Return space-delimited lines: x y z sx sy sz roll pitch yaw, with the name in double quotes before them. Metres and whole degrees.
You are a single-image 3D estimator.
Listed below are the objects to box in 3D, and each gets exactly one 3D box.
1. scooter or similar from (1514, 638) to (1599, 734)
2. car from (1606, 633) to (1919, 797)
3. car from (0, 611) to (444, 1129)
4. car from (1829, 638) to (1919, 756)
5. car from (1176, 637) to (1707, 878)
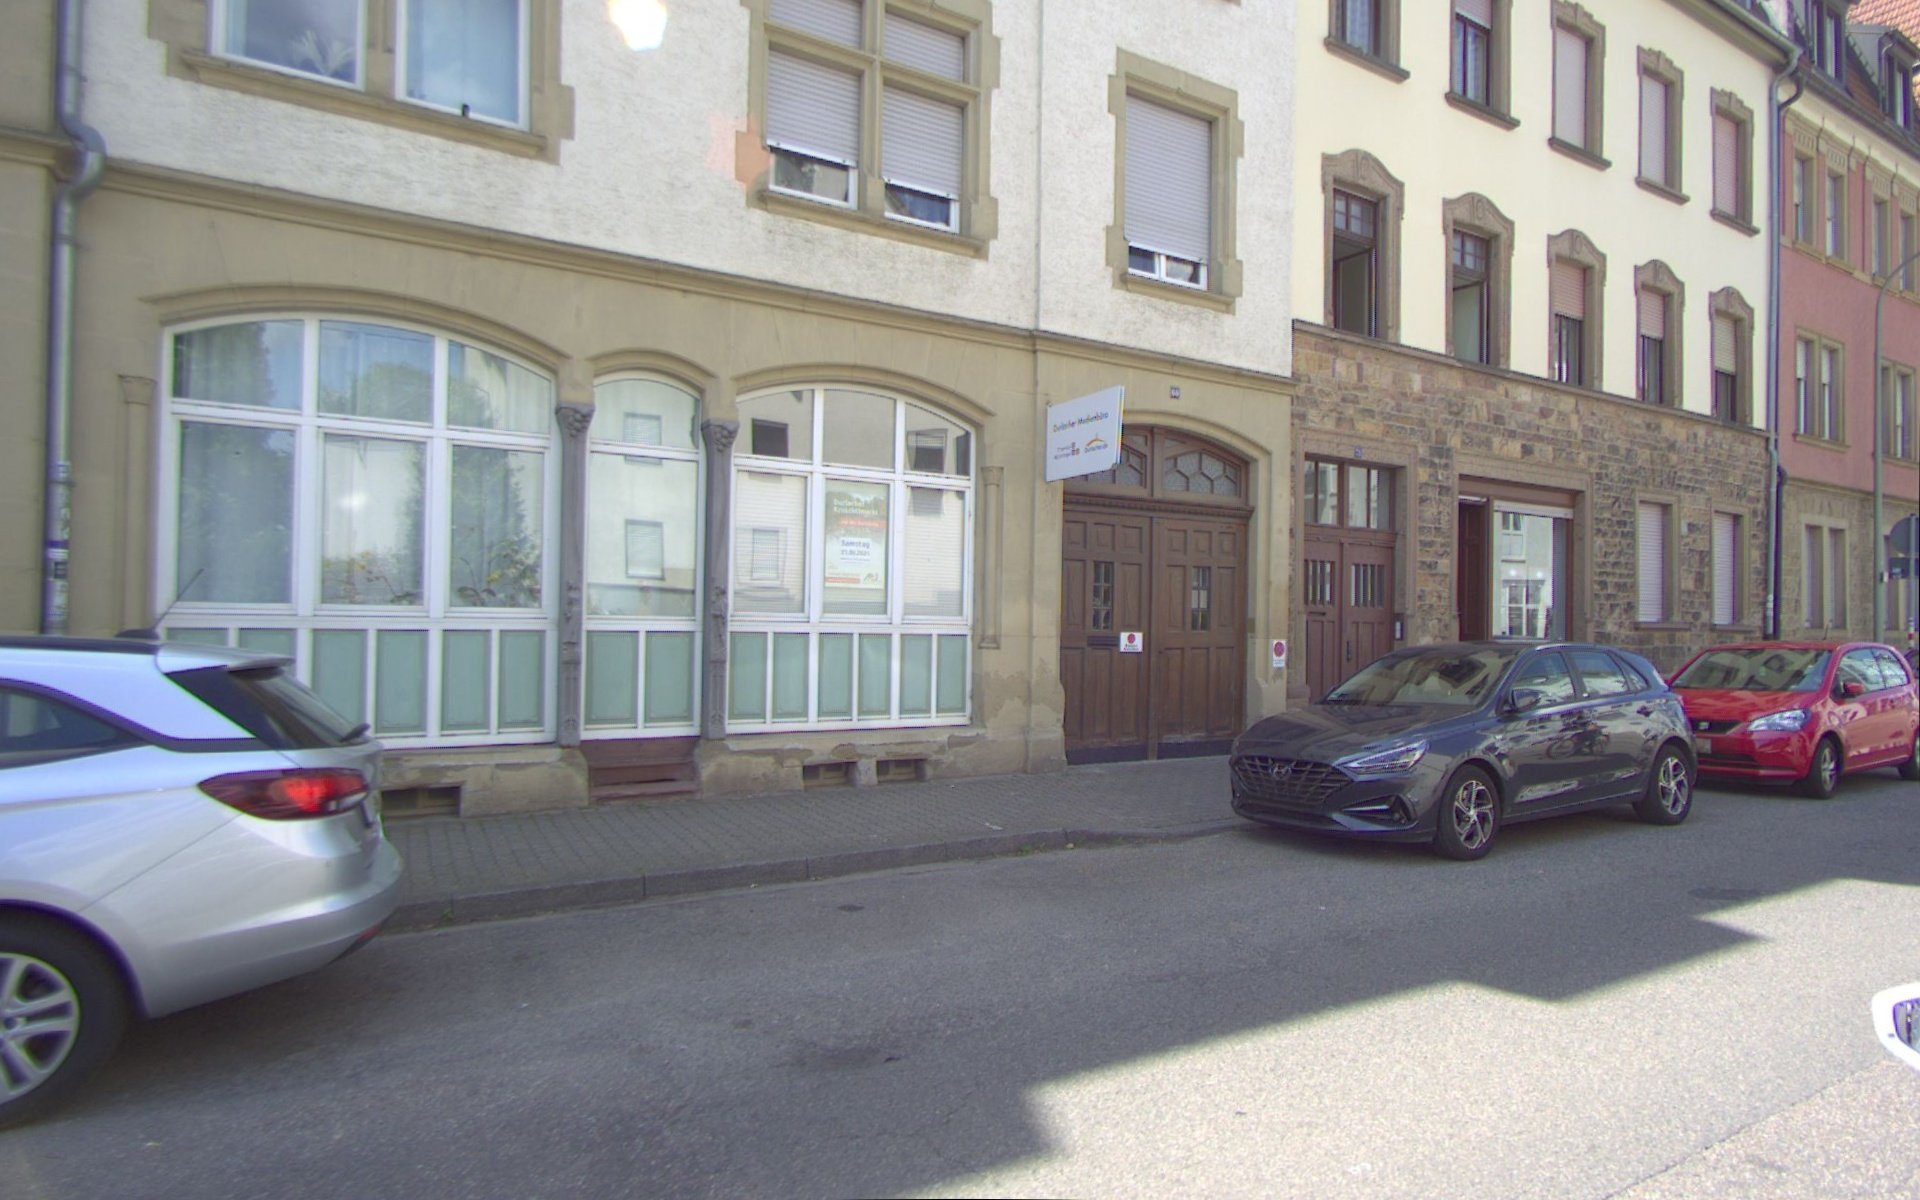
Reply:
"scooter or similar" 7.941 1.122 13.371 1.304 1.236 0.373 1 -2 -30
"car" 8.550 1.092 10.567 3.455 1.461 1.590 1 -2 -31
"car" -4.163 0.800 3.297 4.329 1.530 1.870 1 -2 -30
"car" 13.505 1.236 13.372 3.969 1.450 1.628 1 -3 -29
"car" 3.921 1.036 8.037 4.170 1.457 1.863 1 -2 -31
